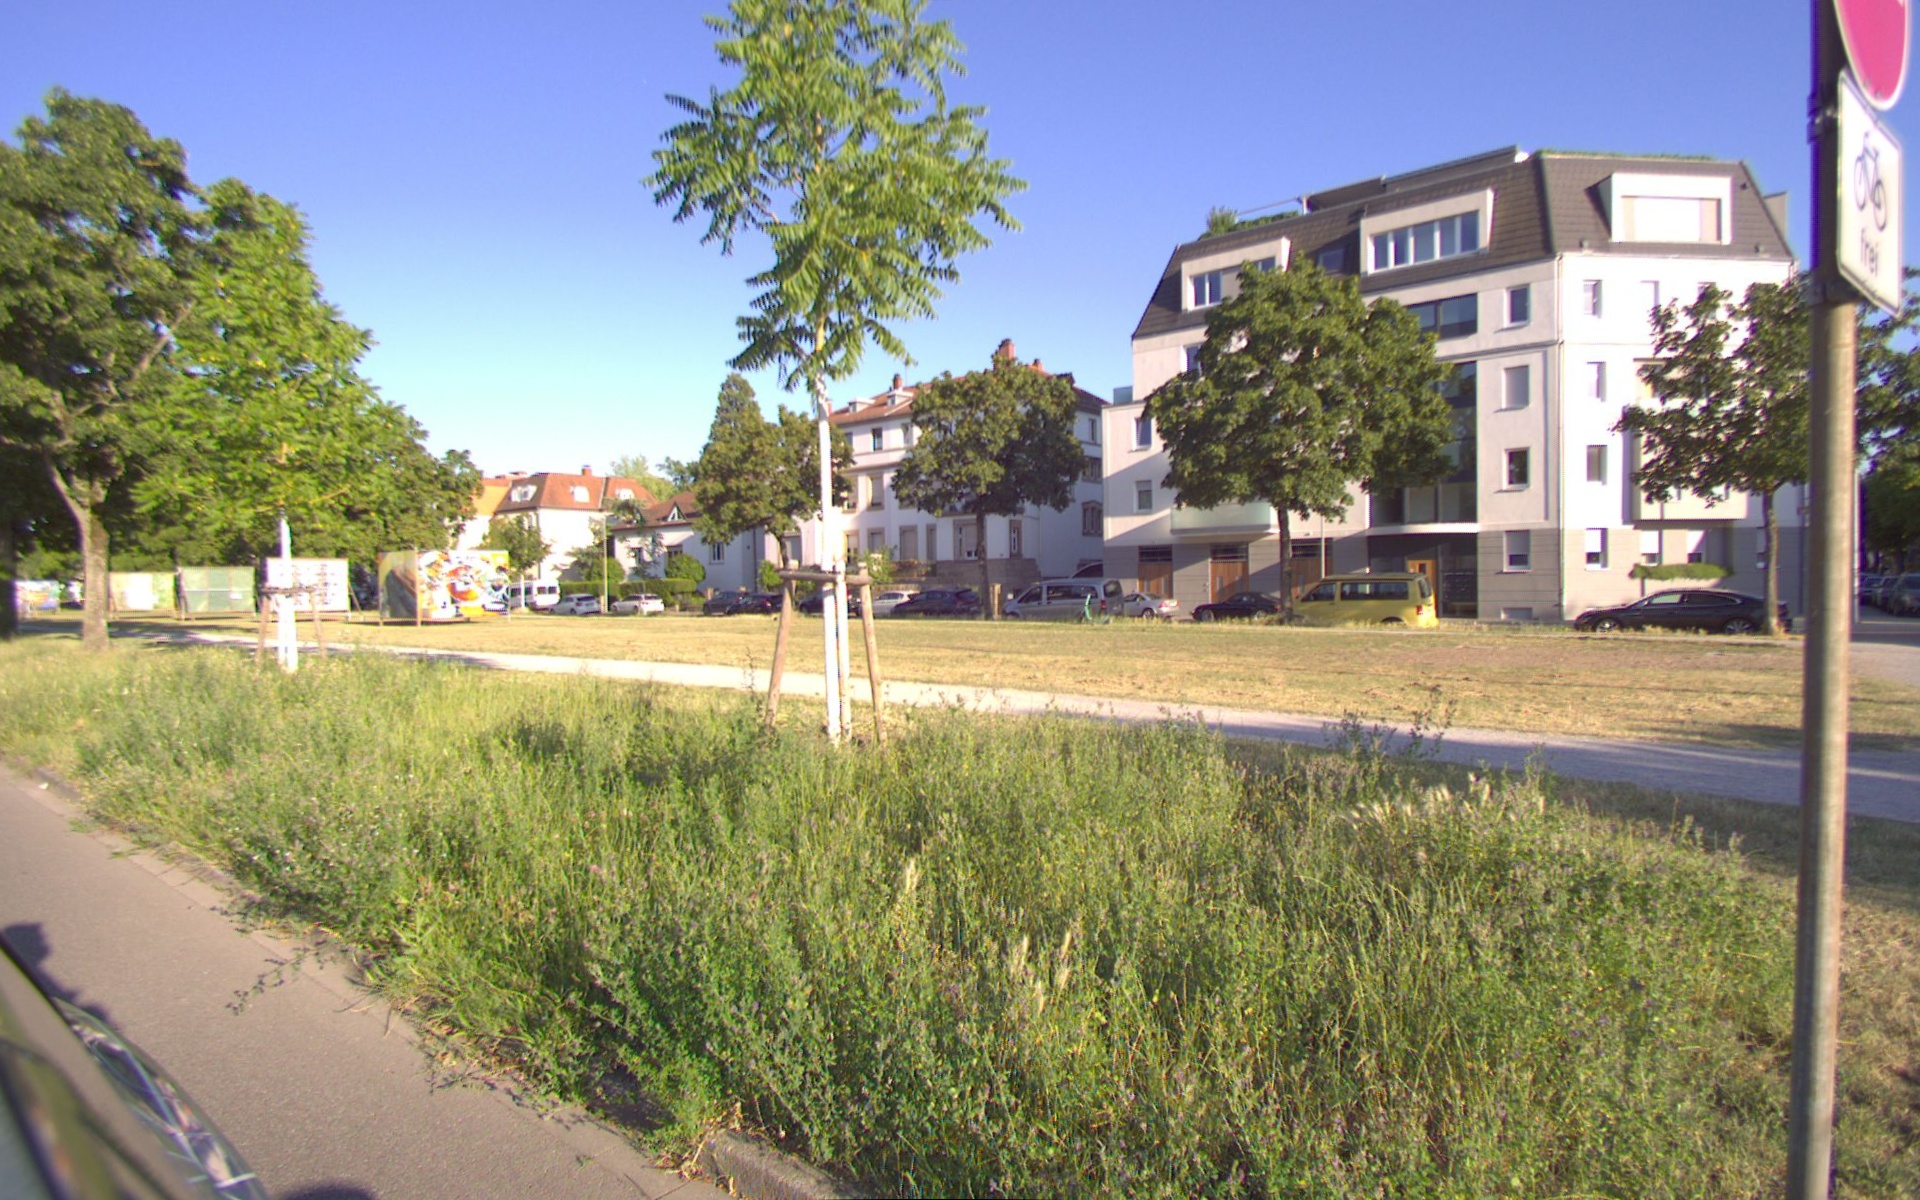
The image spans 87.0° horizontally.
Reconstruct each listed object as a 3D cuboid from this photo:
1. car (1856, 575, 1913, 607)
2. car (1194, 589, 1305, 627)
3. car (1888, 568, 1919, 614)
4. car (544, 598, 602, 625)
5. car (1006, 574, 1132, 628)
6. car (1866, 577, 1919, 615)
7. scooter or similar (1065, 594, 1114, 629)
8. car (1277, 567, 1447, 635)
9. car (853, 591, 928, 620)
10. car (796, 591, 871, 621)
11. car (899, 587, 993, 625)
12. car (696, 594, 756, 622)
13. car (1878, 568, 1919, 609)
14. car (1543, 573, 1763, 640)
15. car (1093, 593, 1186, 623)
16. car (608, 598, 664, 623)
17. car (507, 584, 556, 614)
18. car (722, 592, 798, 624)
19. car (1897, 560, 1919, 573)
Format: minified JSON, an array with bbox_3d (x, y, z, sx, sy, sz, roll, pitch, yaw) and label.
[{"bbox_3d":[44.135,-0.458,48.392,1.762,1.458,4.088,0,1,39],"label":"car"},{"bbox_3d":[11.726,0.303,41.097,3.997,1.474,1.655,0,1,40],"label":"car"},{"bbox_3d":[35.379,-0.358,36.843,1.887,1.603,4.040,0,1,36],"label":"car"},{"bbox_3d":[-24.391,0.718,63.735,3.833,1.592,1.802,0,1,40],"label":"car"},{"bbox_3d":[4.271,0.038,40.027,4.570,2.029,2.052,0,0,39],"label":"car"},{"bbox_3d":[41.566,-0.203,44.712,1.887,1.603,4.040,0,1,36],"label":"car"},{"bbox_3d":[4.352,0.378,34.002,1.647,1.124,0.447,0,1,40],"label":"scooter or similar"},{"bbox_3d":[12.870,0.030,32.543,4.689,2.029,2.007,0,0,39],"label":"car"},{"bbox_3d":[-3.748,0.292,54.082,4.004,1.457,1.621,0,0,39],"label":"car"},{"bbox_3d":[-7.139,0.308,56.899,4.159,1.592,1.802,0,1,40],"label":"car"},{"bbox_3d":[-0.633,0.248,43.720,3.833,1.592,1.802,0,1,40],"label":"car"},{"bbox_3d":[-14.579,0.487,62.878,3.998,1.674,1.621,0,1,41],"label":"car"},{"bbox_3d":[38.712,-0.473,40.947,1.887,1.603,4.040,0,1,36],"label":"car"},{"bbox_3d":[18.826,0.146,27.629,4.836,1.681,1.765,0,1,40],"label":"car"},{"bbox_3d":[7.813,0.344,44.189,3.723,1.250,1.606,0,0,36],"label":"car"},{"bbox_3d":[-22.179,0.713,69.235,3.964,1.592,1.802,0,1,40],"label":"car"},{"bbox_3d":[-33.084,-0.064,78.111,4.130,2.230,1.972,0,1,42],"label":"car"},{"bbox_3d":[-10.323,0.411,52.163,3.833,1.592,1.802,0,1,40],"label":"car"},{"bbox_3d":[112.289,-3.918,118.319,3.854,1.493,1.781,-1,1,40],"label":"car"}]
